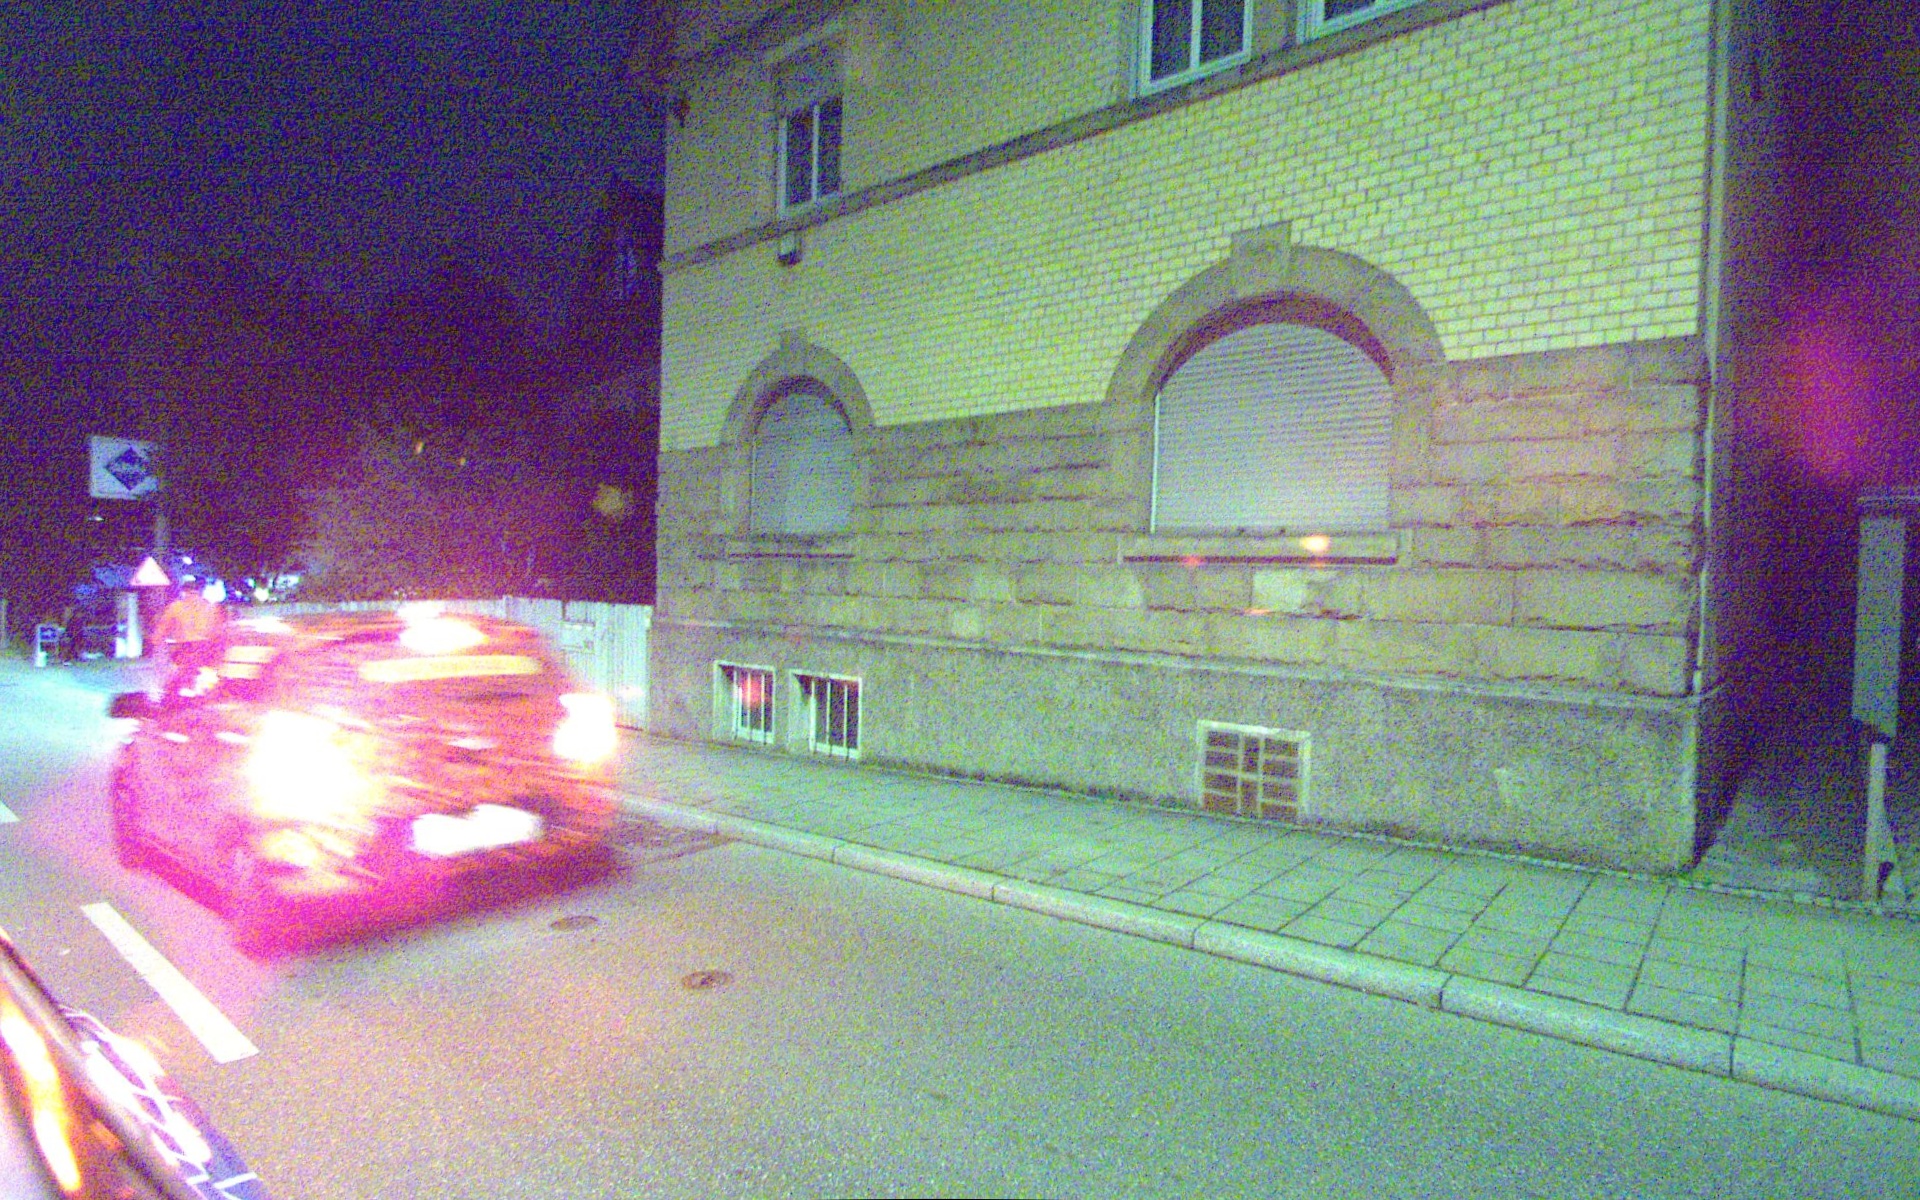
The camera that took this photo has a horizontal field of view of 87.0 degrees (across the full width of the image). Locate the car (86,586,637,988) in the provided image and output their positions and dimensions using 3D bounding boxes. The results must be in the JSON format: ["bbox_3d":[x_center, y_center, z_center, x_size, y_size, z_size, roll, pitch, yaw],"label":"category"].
[{"bbox_3d":[-3.401,0.729,5.517,3.393,1.513,1.565,-1,-1,40],"label":"car"}]

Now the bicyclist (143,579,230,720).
[{"bbox_3d":[-9.455,0.578,12.369,0.896,1.649,0.683,-1,0,41],"label":"bicyclist"}]

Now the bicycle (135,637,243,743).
[{"bbox_3d":[-9.491,1.059,12.430,1.950,1.157,0.689,-1,0,41],"label":"bicycle"}]

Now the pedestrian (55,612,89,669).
[{"bbox_3d":[-27.678,1.249,31.544,0.865,1.739,0.662,-1,-1,38],"label":"pedestrian"}]
